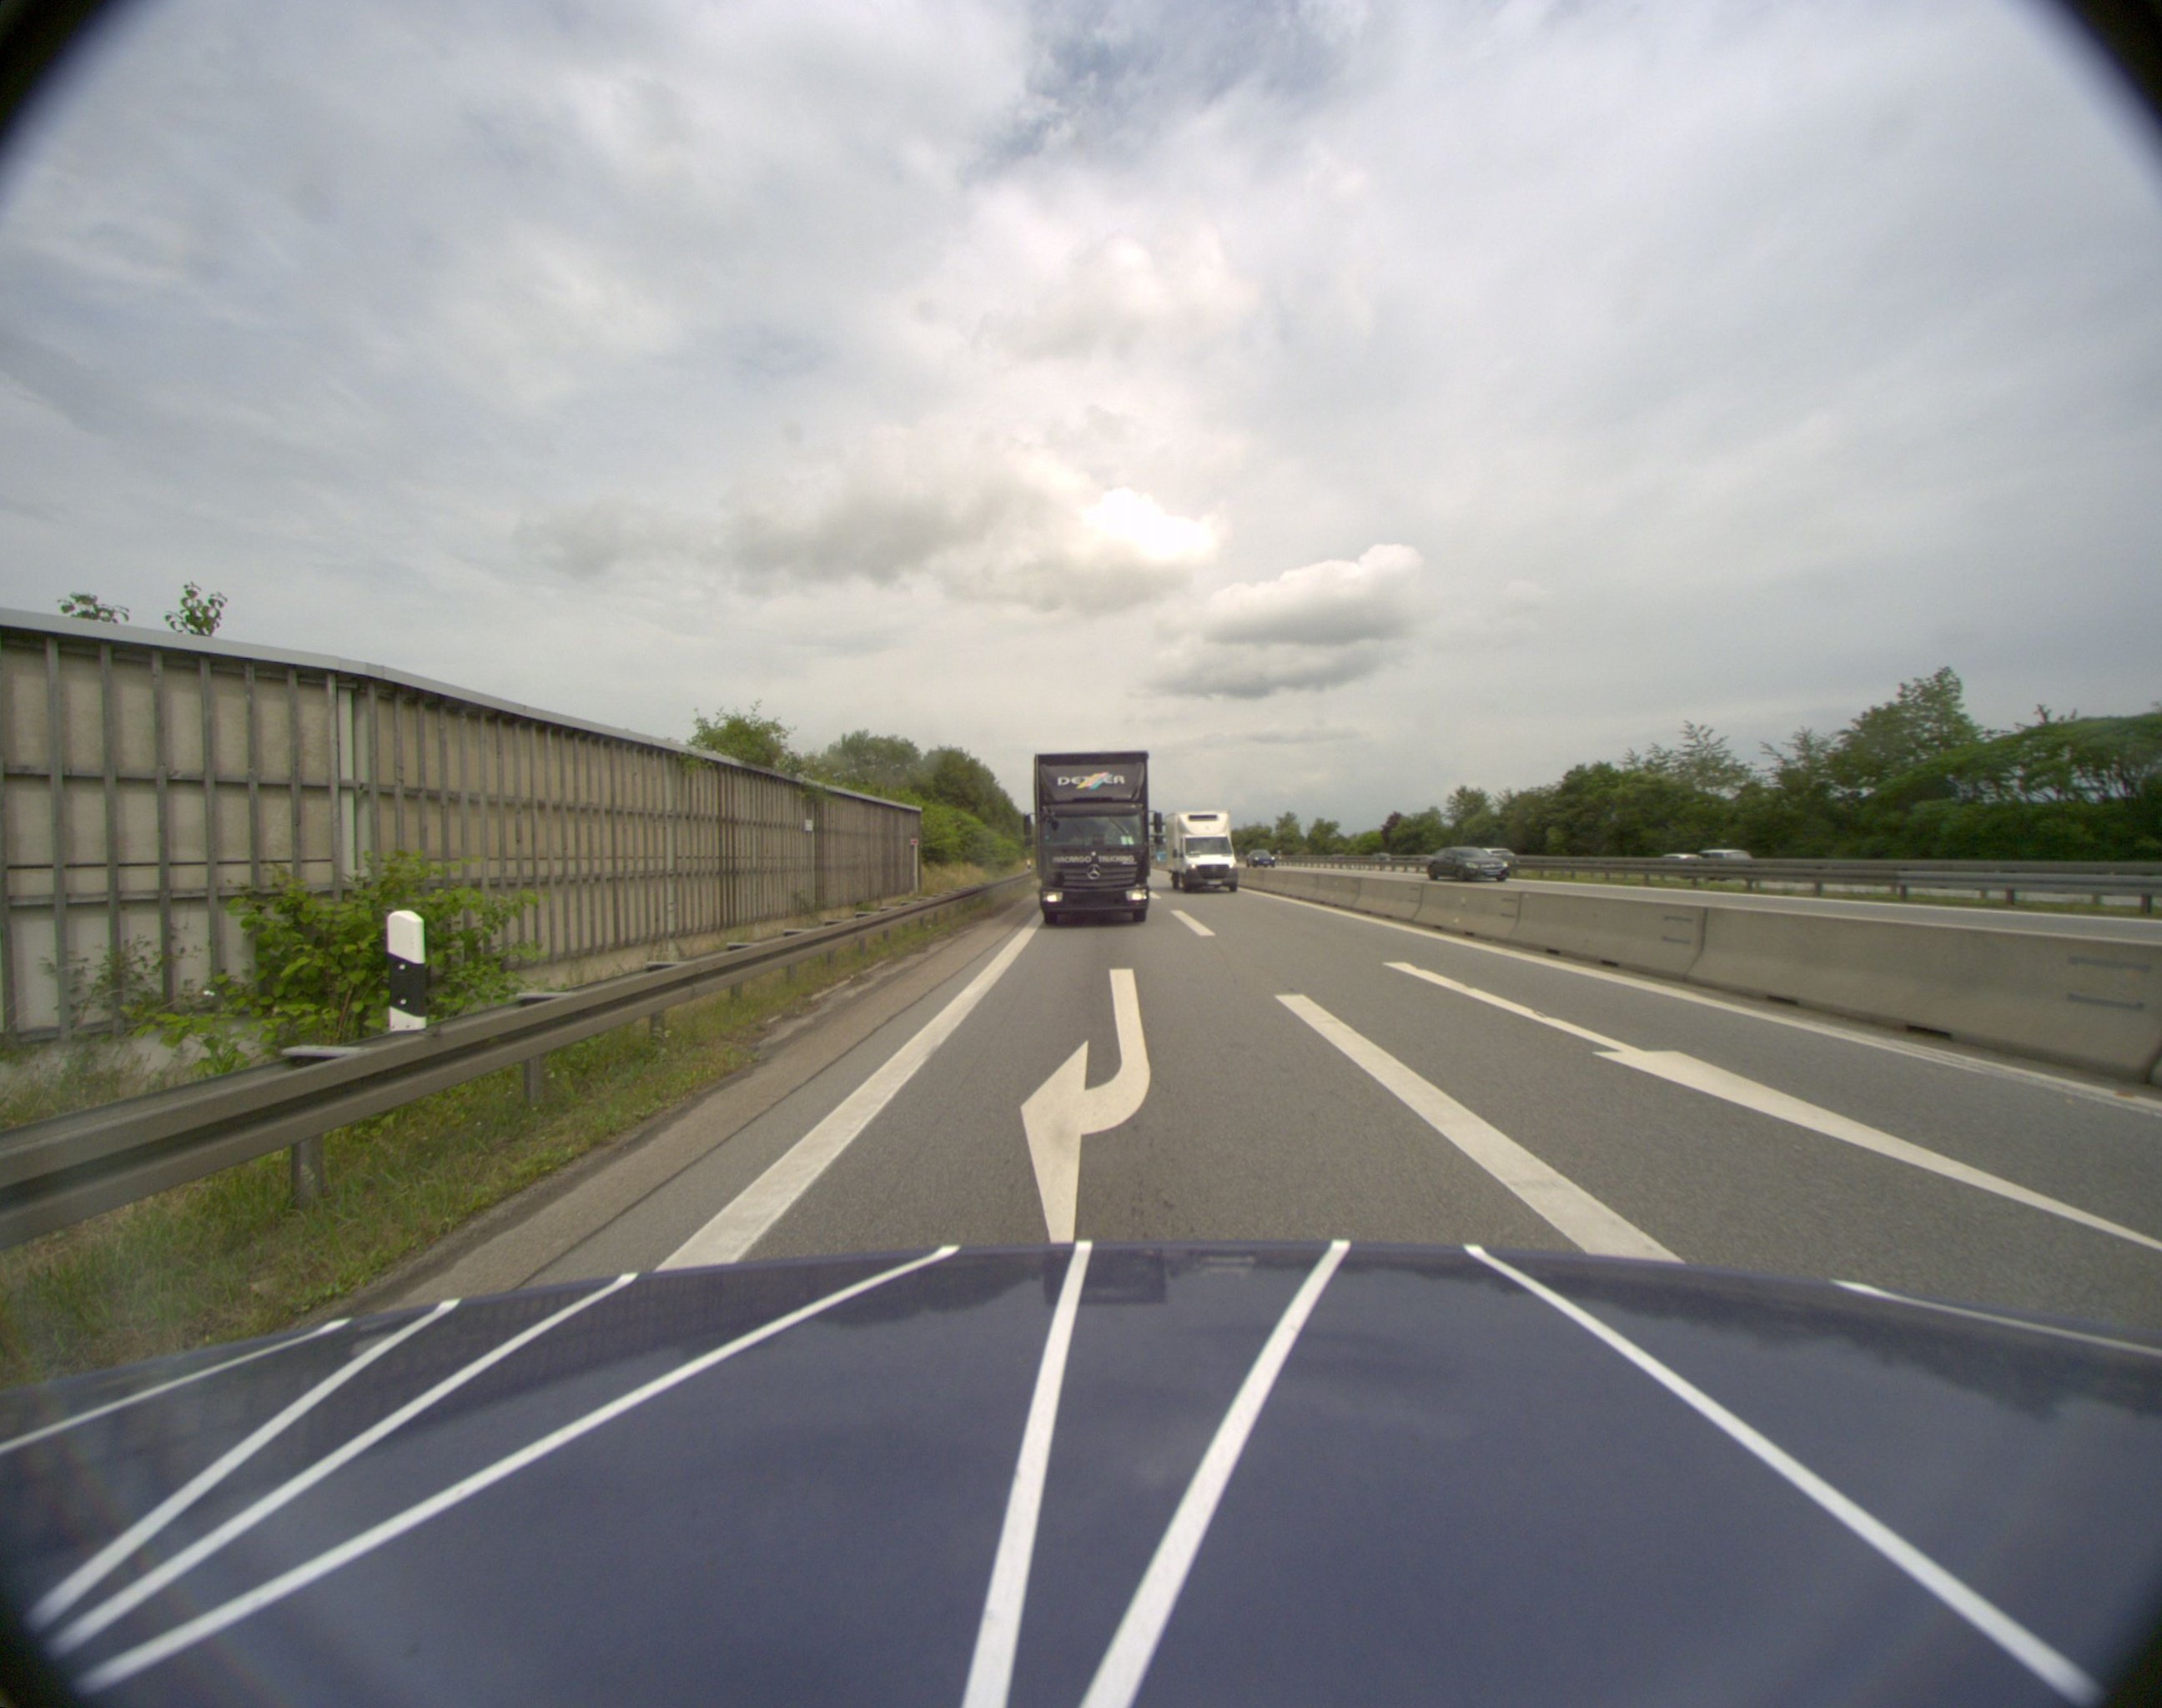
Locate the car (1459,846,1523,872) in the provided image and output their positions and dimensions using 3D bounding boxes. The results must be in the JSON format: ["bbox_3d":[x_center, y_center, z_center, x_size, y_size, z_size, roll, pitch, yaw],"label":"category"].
[{"bbox_3d":[24.925,0.276,46.331,1.691,1.460,4.004,-2,0,0],"label":"car"}]

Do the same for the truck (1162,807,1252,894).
[{"bbox_3d":[4.858,-0.138,30.444,2.410,3.072,6.369,-2,0,-1],"label":"truck"}]

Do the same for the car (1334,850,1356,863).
[{"bbox_3d":[37.450,0.326,107.754,1.691,1.718,4.000,-3,0,0],"label":"car"}]

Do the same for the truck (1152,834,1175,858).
[{"bbox_3d":[14.116,-1.323,130.279,3.254,3.889,6.610,-2,1,1],"label":"truck"}]

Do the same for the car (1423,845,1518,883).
[{"bbox_3d":[16.273,0.376,32.008,1.776,1.441,4.384,-1,0,1],"label":"car"}]

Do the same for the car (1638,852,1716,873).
[{"bbox_3d":[37.044,0.493,47.337,1.691,1.185,4.004,-1,0,0],"label":"car"}]

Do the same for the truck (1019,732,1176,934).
[{"bbox_3d":[0.125,-0.443,20.298,3.025,3.931,10.337,-2,0,-2],"label":"truck"}]

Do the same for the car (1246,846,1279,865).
[{"bbox_3d":[16.603,0.138,69.809,1.998,1.652,4.384,-1,0,1],"label":"car"}]

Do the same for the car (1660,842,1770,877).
[{"bbox_3d":[28.853,0.248,34.756,1.691,1.460,4.004,-2,0,0],"label":"car"}]

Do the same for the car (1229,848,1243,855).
[{"bbox_3d":[30.866,-0.520,151.371,1.737,1.511,3.718,-1,1,-2],"label":"car"}]
